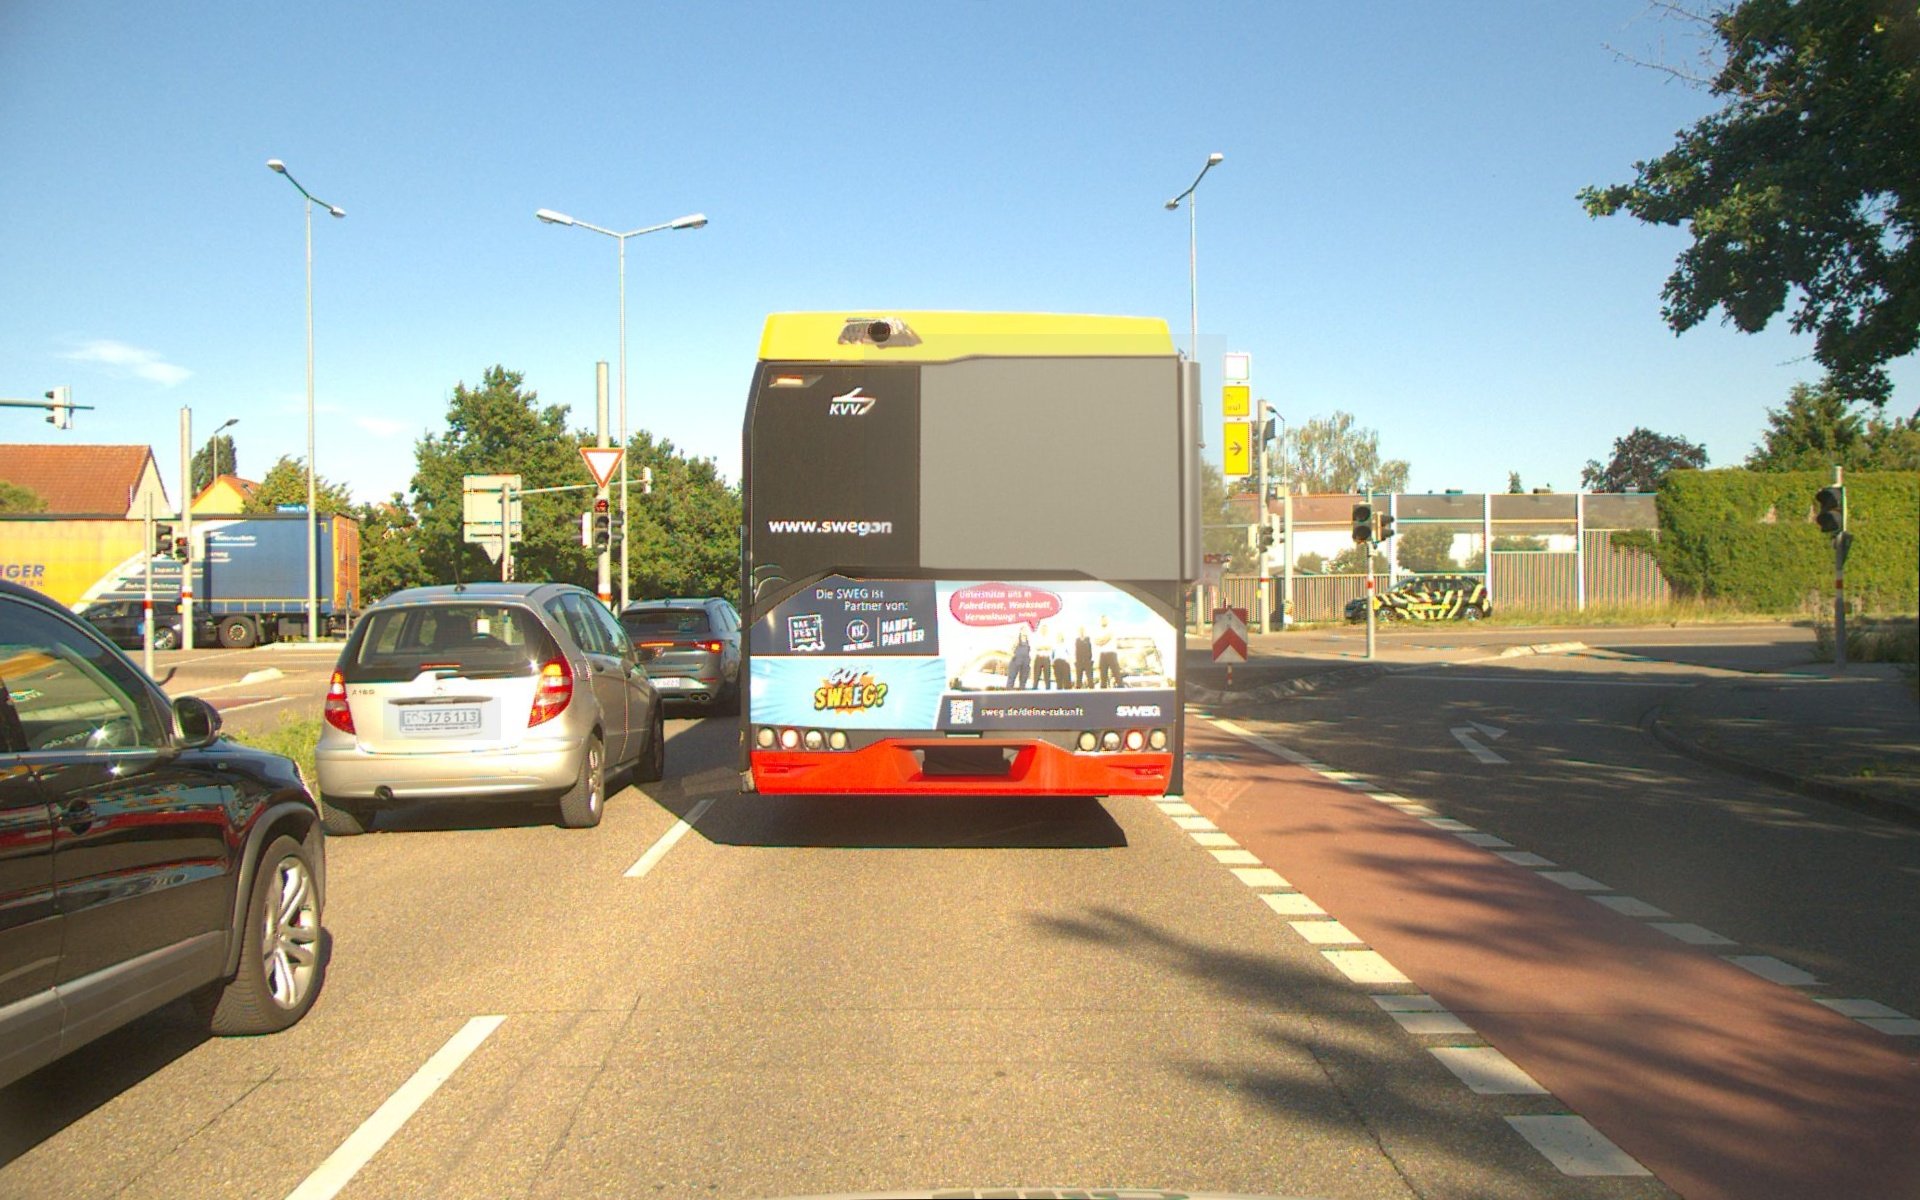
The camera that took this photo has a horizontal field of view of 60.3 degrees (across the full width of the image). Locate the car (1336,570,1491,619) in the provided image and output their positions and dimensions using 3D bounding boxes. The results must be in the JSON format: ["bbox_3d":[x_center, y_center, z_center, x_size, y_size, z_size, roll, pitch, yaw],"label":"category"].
[{"bbox_3d":[13.148,-0.147,48.056,4.078,1.325,1.573,1,-1,-4],"label":"car"}]

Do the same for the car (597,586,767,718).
[{"bbox_3d":[-3.430,0.618,20.950,1.556,1.512,3.681,-1,-1,-1],"label":"car"}]

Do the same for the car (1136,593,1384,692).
[{"bbox_3d":[4.352,0.599,24.261,3.447,1.325,1.576,1,1,8],"label":"car"}]

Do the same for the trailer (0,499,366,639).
[{"bbox_3d":[-24.803,-0.924,50.127,12.492,4.100,2.466,0,0,-8],"label":"trailer"}]

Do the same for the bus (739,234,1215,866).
[{"bbox_3d":[0.009,-0.286,14.944,2.543,3.393,11.981,1,0,-1],"label":"bus"}]

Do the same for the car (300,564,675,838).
[{"bbox_3d":[-3.230,0.570,12.131,1.718,1.648,4.032,0,1,-2],"label":"car"}]

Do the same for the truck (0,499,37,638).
[{"bbox_3d":[-31.377,-0.898,49.251,6.277,4.068,2.469,0,0,-8],"label":"truck"}]

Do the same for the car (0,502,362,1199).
[{"bbox_3d":[-3.159,0.651,4.303,1.784,1.703,4.001,-2,-1,-1],"label":"car"}]

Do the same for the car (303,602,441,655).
[{"bbox_3d":[-19.005,0.901,53.569,3.910,1.640,1.693,0,0,-7],"label":"car"}]

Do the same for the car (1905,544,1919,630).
[{"bbox_3d":[16.582,-0.179,25.963,3.355,1.318,1.448,1,-1,-26],"label":"car"}]

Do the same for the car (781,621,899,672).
[{"bbox_3d":[-4.061,1.557,55.714,3.910,1.640,1.693,0,0,-7],"label":"car"}]
